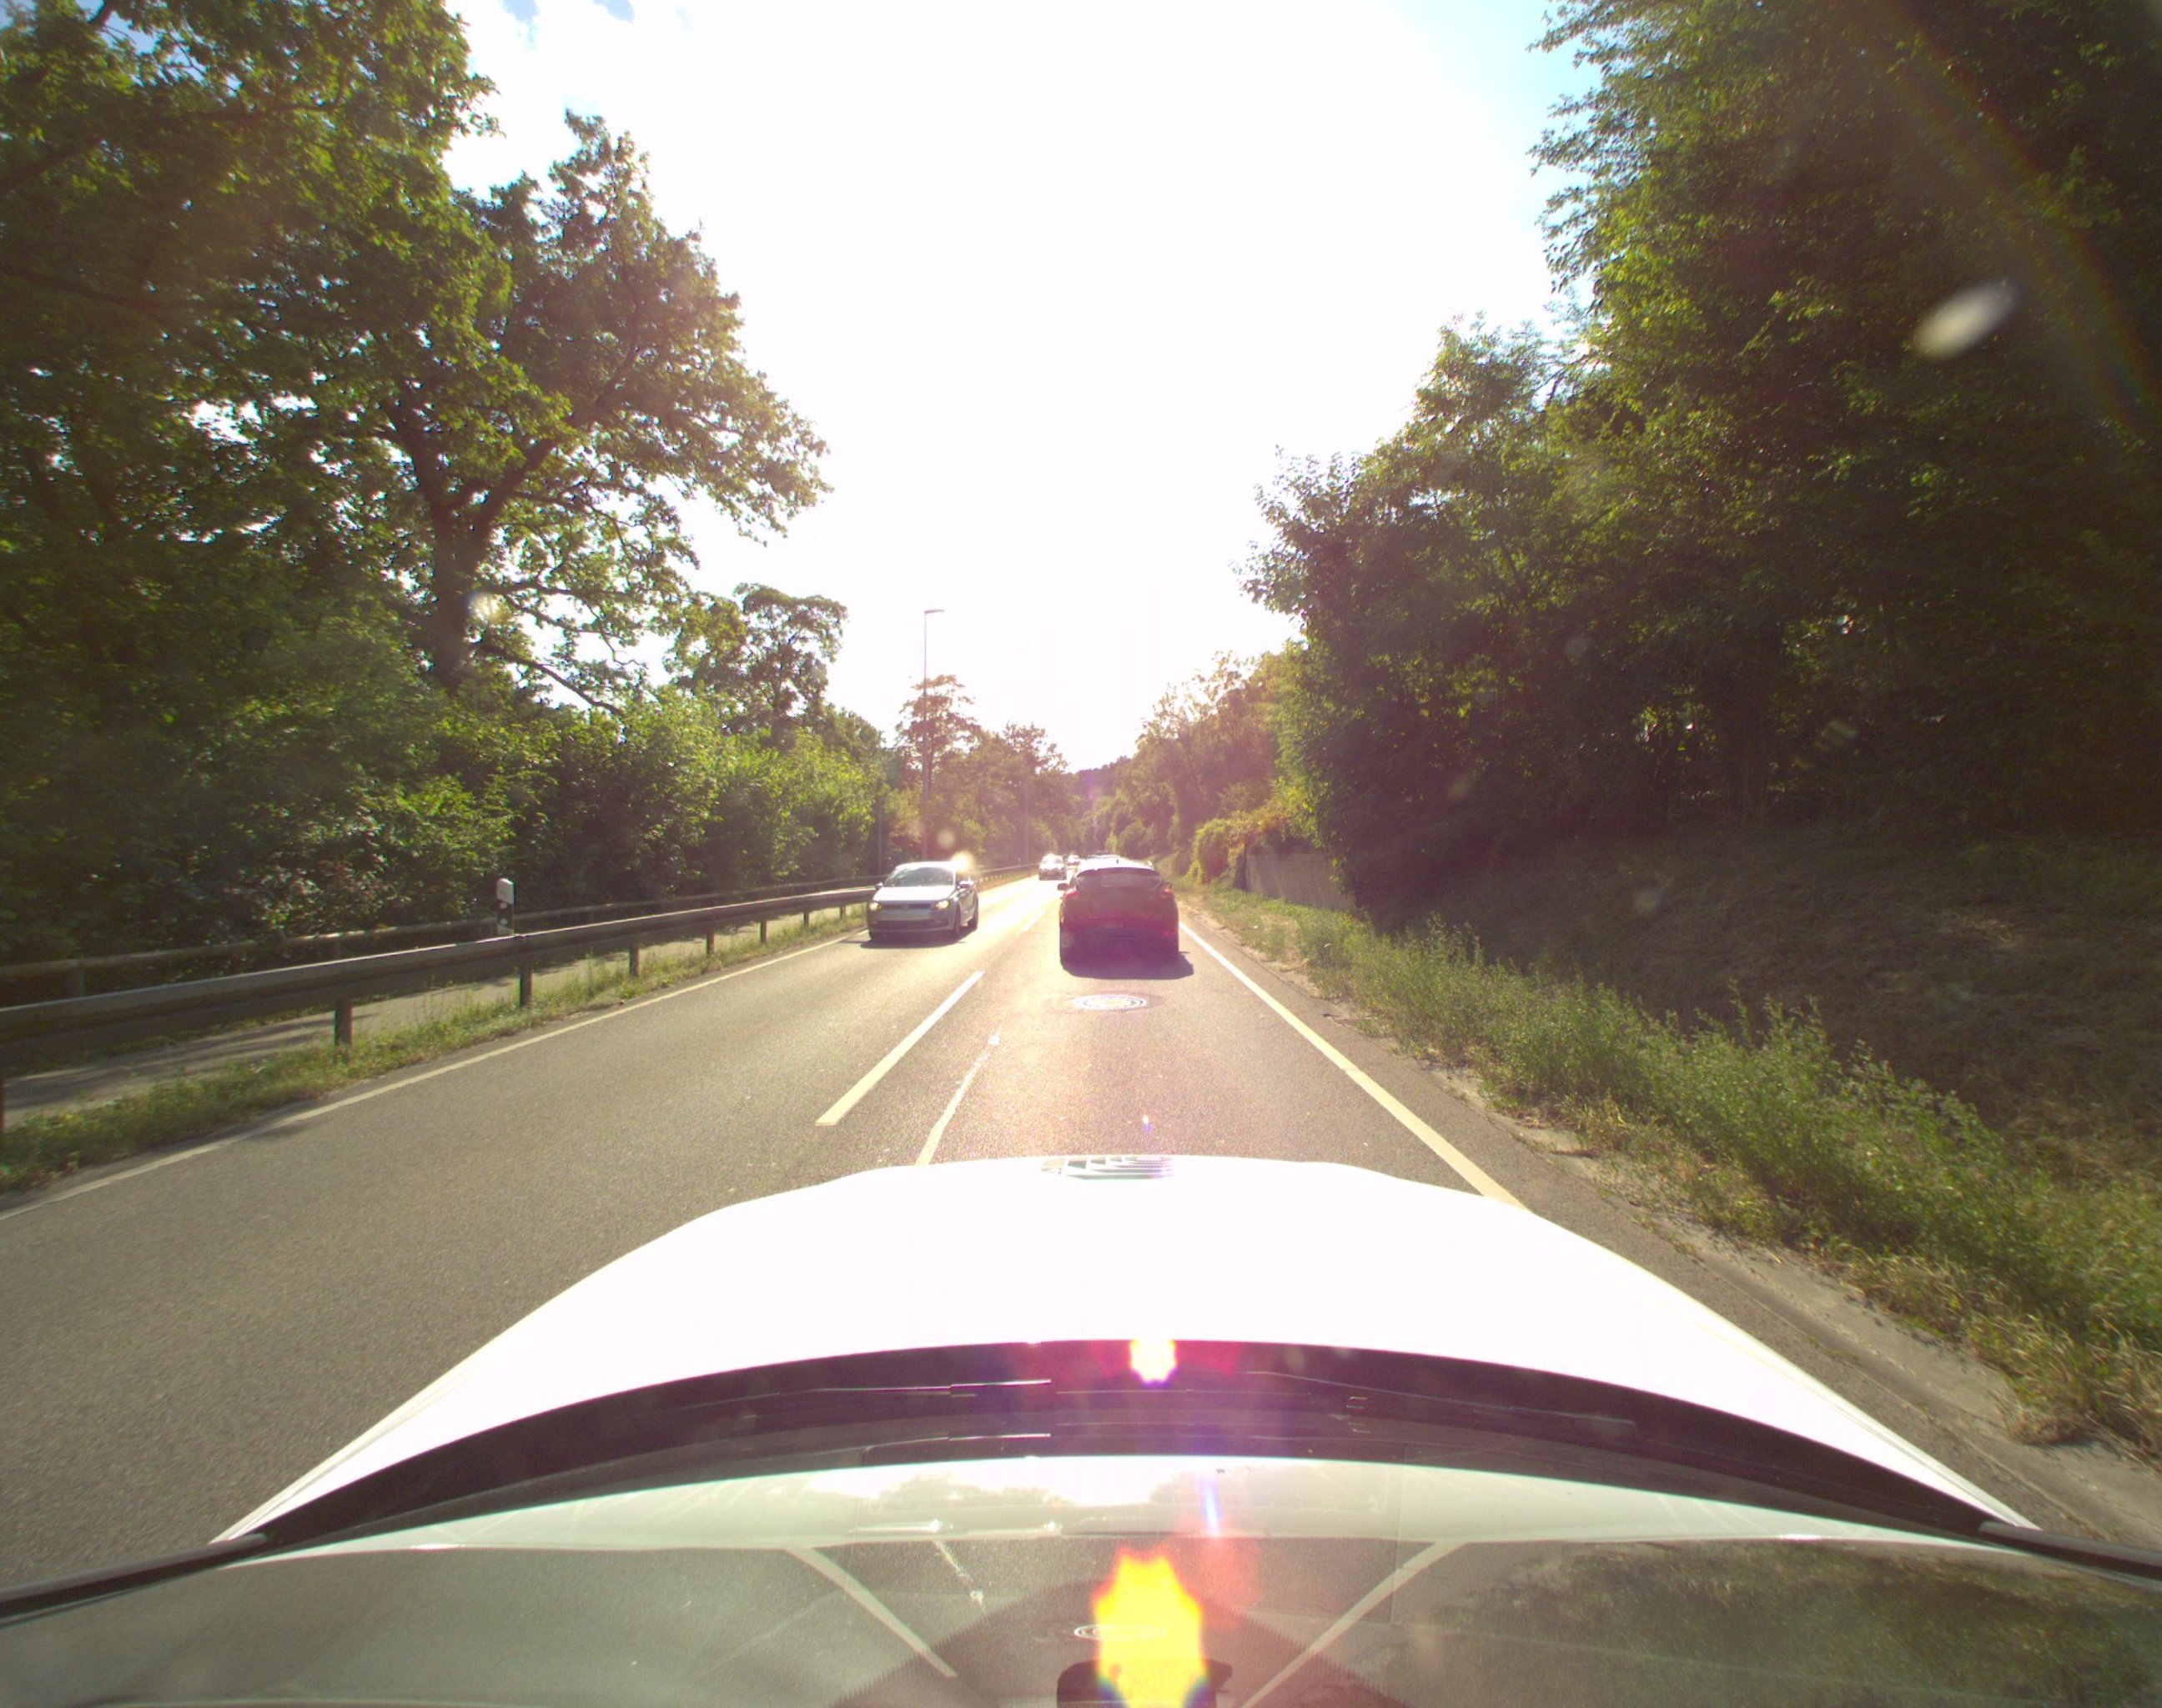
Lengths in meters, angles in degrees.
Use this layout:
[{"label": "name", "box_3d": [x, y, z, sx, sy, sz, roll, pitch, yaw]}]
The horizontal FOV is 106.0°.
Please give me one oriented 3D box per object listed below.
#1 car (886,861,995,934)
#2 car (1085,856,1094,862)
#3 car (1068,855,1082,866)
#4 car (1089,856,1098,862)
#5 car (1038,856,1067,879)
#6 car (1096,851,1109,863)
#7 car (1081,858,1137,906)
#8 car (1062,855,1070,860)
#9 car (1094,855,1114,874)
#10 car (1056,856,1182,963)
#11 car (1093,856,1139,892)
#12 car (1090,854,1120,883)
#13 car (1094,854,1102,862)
[{"label": "car", "box_3d": [-3.012, 0.882, 18.215, 1.617, 1.377, 4.048, -1, 0, 1]}, {"label": "car", "box_3d": [2.134, 1.217, 203.857, 1.991, 1.519, 3.992, -1, 0, -6]}, {"label": "car", "box_3d": [-0.822, 0.900, 112.253, 1.768, 1.387, 4.002, -1, 0, 2]}, {"label": "car", "box_3d": [2.950, 1.162, 193.487, 1.986, 1.519, 4.001, -1, 0, 1]}, {"label": "car", "box_3d": [-1.830, 0.868, 54.052, 1.675, 1.463, 4.198, -1, 0, 1]}, {"label": "car", "box_3d": [3.272, 0.485, 125.393, 1.857, 1.780, 3.999, -1, 0, 0]}, {"label": "car", "box_3d": [0.944, 0.851, 26.443, 1.654, 1.418, 4.003, -1, 0, 3]}, {"label": "car", "box_3d": [-4.614, 1.013, 254.725, 1.993, 1.519, 3.987, -1, 0, -9]}, {"label": "car", "box_3d": [1.977, 0.898, 70.503, 1.624, 1.596, 4.002, -1, 0, 2]}, {"label": "car", "box_3d": [0.595, 0.785, 13.291, 1.733, 1.456, 4.002, -1, 0, 2]}, {"label": "car", "box_3d": [1.470, 0.805, 34.547, 1.798, 1.391, 4.002, -1, 0, 2]}, {"label": "car", "box_3d": [1.424, 0.796, 47.691, 1.624, 1.596, 4.002, -1, 0, 2]}, {"label": "car", "box_3d": [3.749, 0.869, 179.756, 1.812, 1.519, 4.002, -1, 0, 2]}]
